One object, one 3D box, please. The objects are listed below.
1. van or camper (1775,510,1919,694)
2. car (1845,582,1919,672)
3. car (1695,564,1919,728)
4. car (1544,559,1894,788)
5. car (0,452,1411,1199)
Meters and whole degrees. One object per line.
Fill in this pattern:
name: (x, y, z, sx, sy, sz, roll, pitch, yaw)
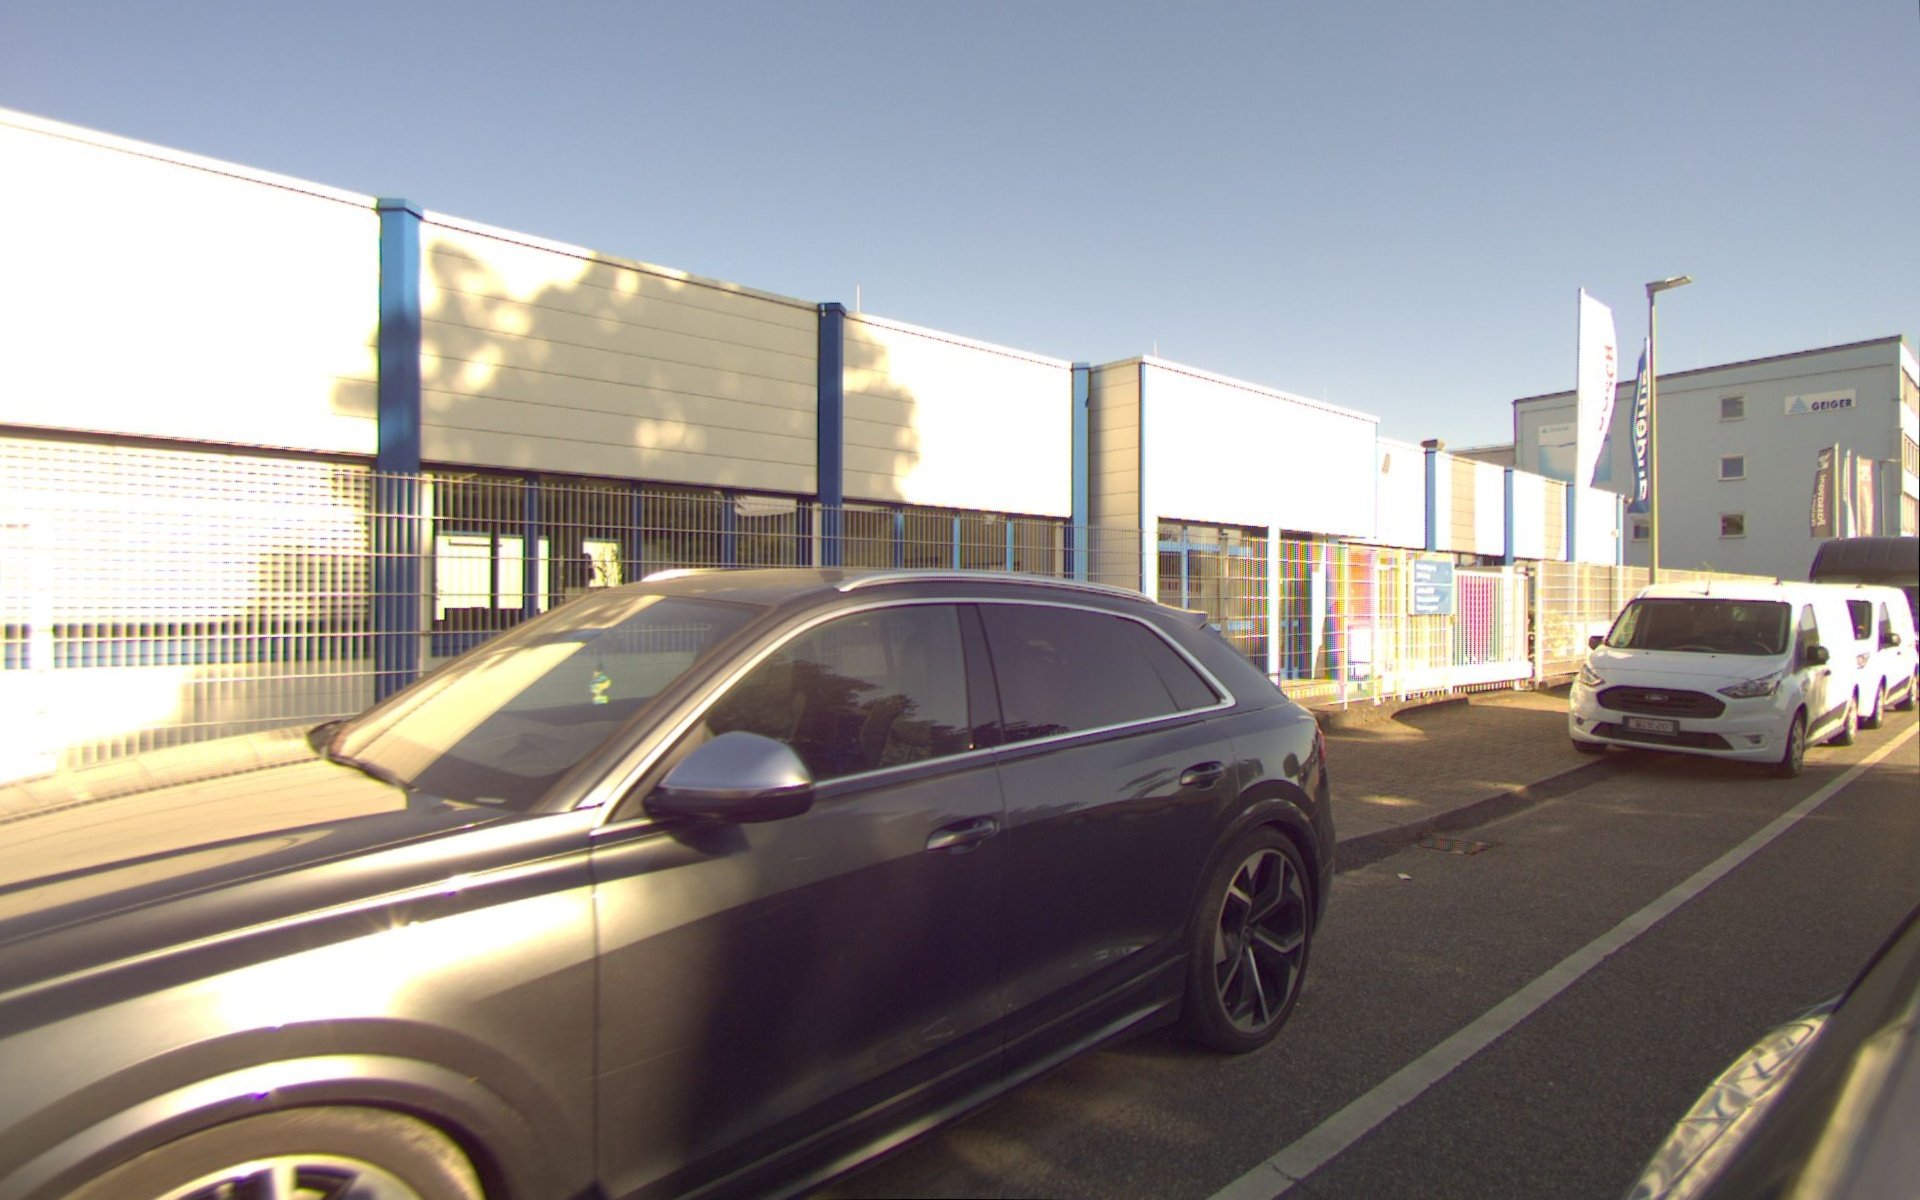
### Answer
van or camper: (16.449, 0.023, 17.832, 6.053, 2.795, 2.144, 0, -1, -41)
car: (21.064, 0.537, 22.170, 5.016, 1.820, 1.888, 0, -1, -42)
car: (12.006, 0.526, 13.962, 5.014, 1.870, 1.889, 0, -1, -41)
car: (8.107, 0.597, 10.595, 5.078, 1.854, 1.858, 0, -1, -41)
car: (-0.683, 0.656, 3.135, 4.648, 1.688, 1.997, 0, -1, -41)
